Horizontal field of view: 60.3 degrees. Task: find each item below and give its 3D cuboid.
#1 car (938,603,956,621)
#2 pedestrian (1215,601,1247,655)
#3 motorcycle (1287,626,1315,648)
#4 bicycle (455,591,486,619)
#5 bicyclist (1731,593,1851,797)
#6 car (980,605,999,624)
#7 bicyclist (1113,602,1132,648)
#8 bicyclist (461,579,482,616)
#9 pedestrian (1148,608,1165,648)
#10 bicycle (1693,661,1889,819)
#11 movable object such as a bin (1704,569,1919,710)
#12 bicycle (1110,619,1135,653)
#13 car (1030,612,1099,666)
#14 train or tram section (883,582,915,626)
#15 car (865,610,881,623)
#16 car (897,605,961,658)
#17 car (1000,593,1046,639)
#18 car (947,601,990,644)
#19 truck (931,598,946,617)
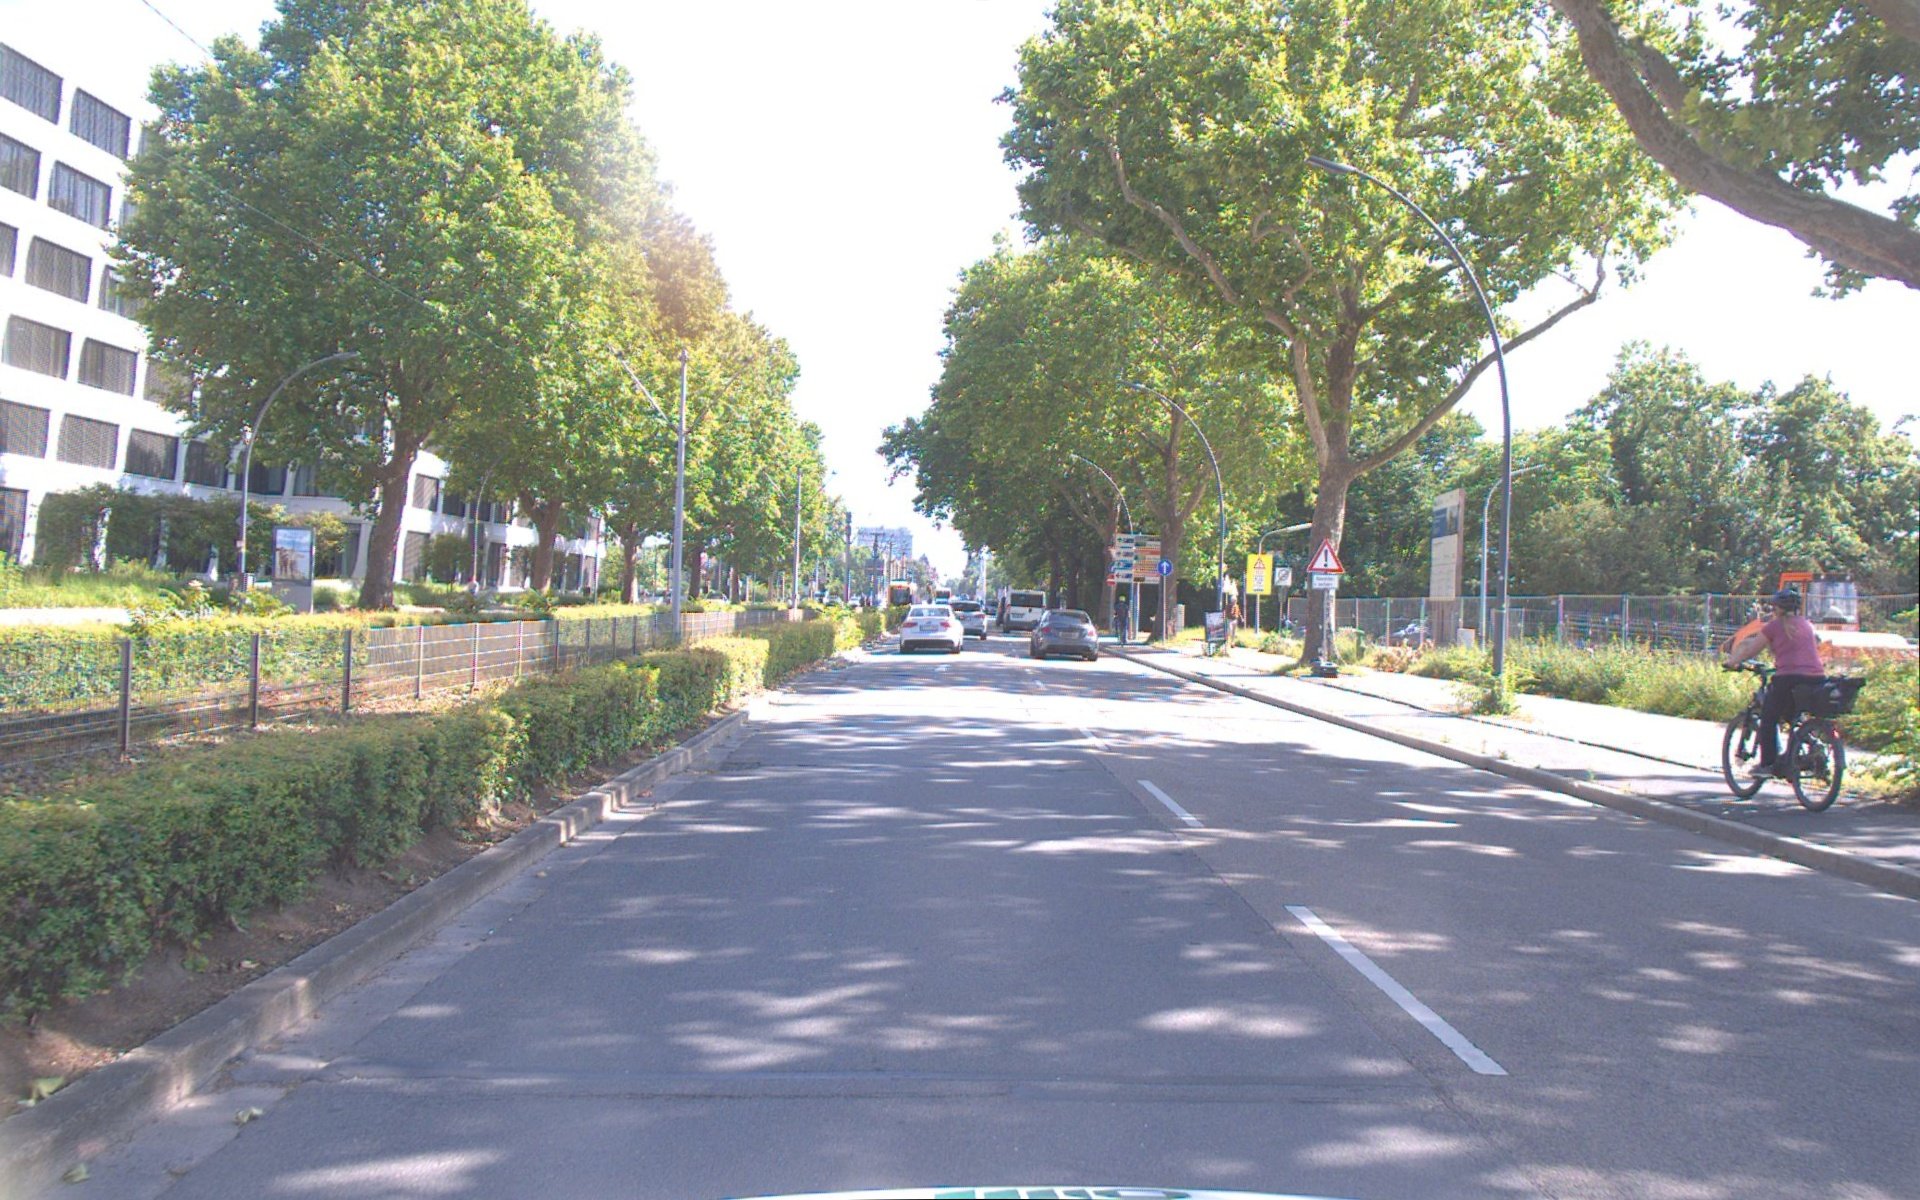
[{"bbox_3d":[-1.287,1.198,167.189,1.694,1.659,4.000,2,0,0],"label":"car"},{"bbox_3d":[10.001,1.014,61.049,0.919,1.925,1.151,2,0,0],"label":"pedestrian"},{"bbox_3d":[16.642,1.812,80.690,1.196,0.984,0.470,2,0,-7],"label":"motorcycle"},{"bbox_3d":[-21.099,0.210,71.321,0.650,1.144,2.031,2,0,1],"label":"bicycle"},{"bbox_3d":[6.823,0.760,13.603,0.607,1.628,0.732,0,0,-2],"label":"bicyclist"},{"bbox_3d":[3.365,1.670,190.564,2.029,2.034,4.058,2,0,0],"label":"car"},{"bbox_3d":[6.049,0.928,61.656,0.621,1.677,0.979,0,1,-1],"label":"bicyclist"},{"bbox_3d":[-21.076,-0.099,71.342,0.641,1.561,0.641,2,0,1],"label":"bicyclist"},{"bbox_3d":[9.200,1.301,77.620,0.619,1.816,0.874,2,-1,0],"label":"pedestrian"},{"bbox_3d":[6.828,1.116,13.703,0.638,1.149,1.945,1,-1,0],"label":"bicycle"},{"bbox_3d":[21.041,0.904,40.812,2.322,3.125,5.982,2,0,-3],"label":"movable object such as a bin"},{"bbox_3d":[6.049,1.326,61.634,0.700,1.168,2.178,0,2,-1],"label":"bicycle"},{"bbox_3d":[3.031,1.121,48.697,1.746,1.445,4.000,2,0,0],"label":"car"},{"bbox_3d":[-5.964,0.414,162.731,2.563,4.085,7.749,2,0,1],"label":"train or tram section"},{"bbox_3d":[-12.567,2.372,239.438,1.952,1.764,4.000,2,0,1],"label":"car"},{"bbox_3d":[-0.890,0.919,49.248,1.748,1.445,3.885,2,0,0],"label":"car"},{"bbox_3d":[3.270,0.820,86.571,2.184,2.250,4.162,2,0,0],"label":"car"},{"bbox_3d":[0.366,0.927,68.571,1.694,1.633,3.885,2,0,0],"label":"car"},{"bbox_3d":[-3.447,1.255,264.045,1.952,2.839,8.519,2,0,1],"label":"truck"}]
